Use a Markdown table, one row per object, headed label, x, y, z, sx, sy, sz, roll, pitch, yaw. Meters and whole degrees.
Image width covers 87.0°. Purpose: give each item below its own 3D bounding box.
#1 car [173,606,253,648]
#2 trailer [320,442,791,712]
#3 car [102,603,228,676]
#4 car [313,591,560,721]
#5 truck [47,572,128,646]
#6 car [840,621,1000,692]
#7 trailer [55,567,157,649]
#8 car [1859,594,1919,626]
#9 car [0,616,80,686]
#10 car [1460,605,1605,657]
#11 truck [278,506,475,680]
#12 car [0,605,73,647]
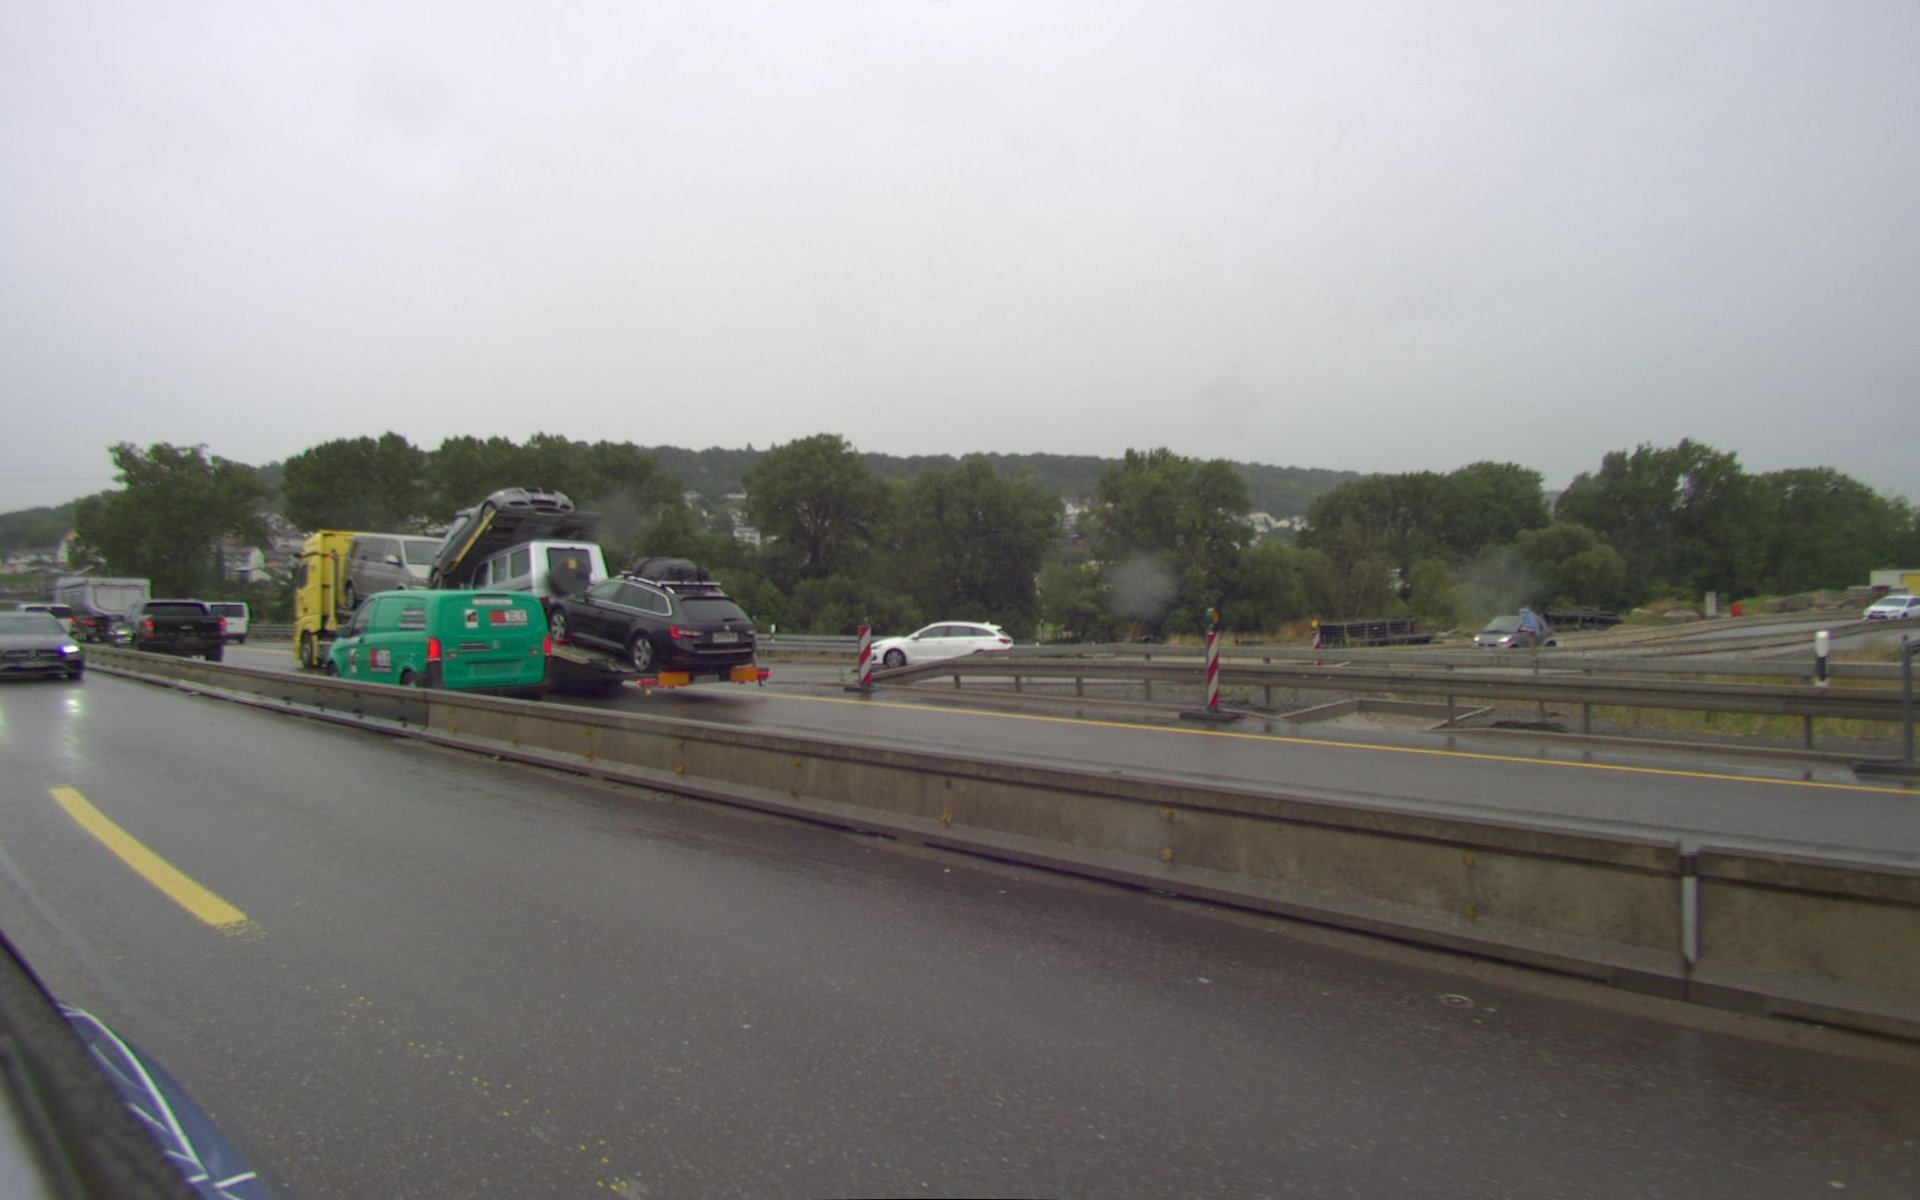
| label | x | y | z | sx | sy | sz | roll | pitch | yaw |
| --- | --- | --- | --- | --- | --- | --- | --- | --- | --- |
| car | -38.157 | 1.348 | 51.654 | 5.043 | 2.029 | 2.241 | -1 | -1 | 41 |
| trailer | -9.520 | -0.237 | 21.447 | 15.353 | 4.073 | 2.720 | -1 | -1 | 42 |
| car | -21.701 | 1.035 | 27.536 | 5.188 | 1.819 | 1.768 | -1 | -2 | 42 |
| car | -8.460 | 0.818 | 16.171 | 4.686 | 1.772 | 1.972 | -1 | -1 | 42 |
| truck | -49.326 | 0.565 | 57.186 | 5.271 | 3.957 | 2.657 | -1 | -2 | 41 |
| car | -1.208 | 1.717 | 31.287 | 4.775 | 2.078 | 2.071 | 0 | -1 | 0 |
| trailer | -45.468 | 0.503 | 53.729 | 9.815 | 3.994 | 2.657 | -1 | -2 | 42 |
| car | 52.326 | 0.525 | 55.807 | 4.959 | 1.713 | 1.856 | 0 | -1 | -18 |
| car | -21.351 | 1.097 | 22.701 | 4.482 | 1.449 | 1.926 | -1 | -1 | 42 |
| car | 20.191 | 1.062 | 35.669 | 4.958 | 1.713 | 1.856 | 0 | -1 | -25 |
| truck | -15.523 | -0.113 | 26.774 | 6.145 | 4.093 | 2.720 | -1 | -1 | 42 |
| car | -41.766 | 1.165 | 45.702 | 5.357 | 1.806 | 1.855 | -1 | -2 | 41 |
